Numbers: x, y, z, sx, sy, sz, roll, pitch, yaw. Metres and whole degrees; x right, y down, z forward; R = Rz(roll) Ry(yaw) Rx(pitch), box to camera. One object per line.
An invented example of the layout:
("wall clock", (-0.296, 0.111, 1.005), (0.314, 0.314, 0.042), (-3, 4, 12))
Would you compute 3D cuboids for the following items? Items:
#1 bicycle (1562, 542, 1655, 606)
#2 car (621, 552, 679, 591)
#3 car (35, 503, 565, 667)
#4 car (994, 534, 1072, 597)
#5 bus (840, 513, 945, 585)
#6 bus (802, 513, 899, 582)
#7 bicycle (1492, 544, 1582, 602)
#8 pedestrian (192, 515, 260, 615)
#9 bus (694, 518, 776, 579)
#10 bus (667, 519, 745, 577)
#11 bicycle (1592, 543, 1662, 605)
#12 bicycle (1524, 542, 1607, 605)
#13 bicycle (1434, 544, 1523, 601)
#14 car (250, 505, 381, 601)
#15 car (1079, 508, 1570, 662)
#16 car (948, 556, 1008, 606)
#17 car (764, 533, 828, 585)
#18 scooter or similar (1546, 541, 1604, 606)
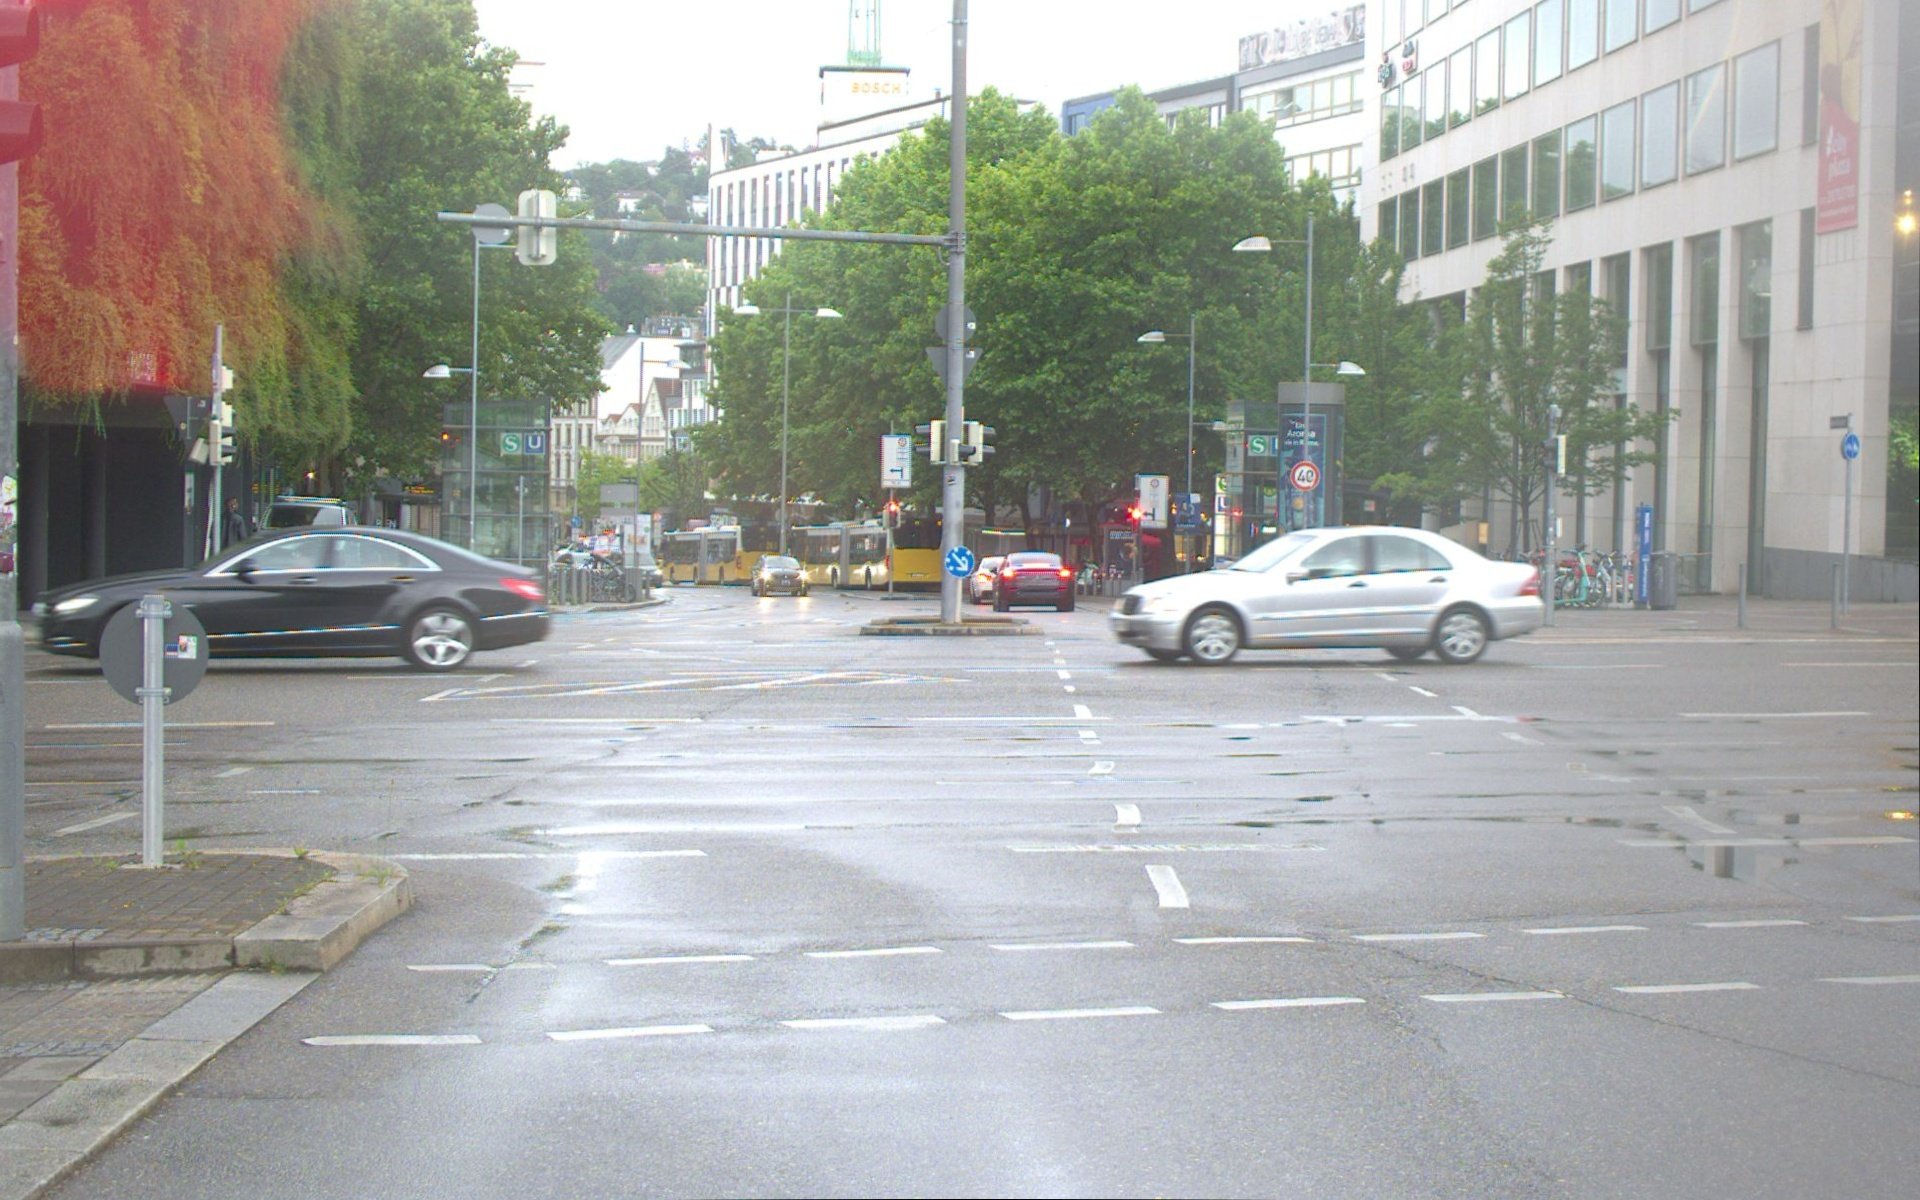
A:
("bicycle", (12.232, -0.490, 64.851), (1.624, 1.190, 0.586), (1, 0, 26))
("car", (-14.256, -1.321, 157.846), (2.163, 1.759, 4.832), (-1, 1, -11))
("car", (-6.437, -0.120, 33.438), (4.845, 1.472, 2.000), (1, -1, -17))
("car", (1.788, -0.855, 85.484), (1.781, 1.503, 4.000), (1, 1, -1))
("bus", (-2.907, -2.200, 145.948), (2.627, 2.985, 7.451), (0, 1, -16))
("bus", (-4.921, -2.361, 153.094), (2.627, 2.985, 7.451), (0, 1, -16))
("bicycle", (12.020, -0.560, 71.613), (1.777, 1.190, 0.586), (1, 0, 2))
("pedestrian", (-12.142, -0.581, 56.896), (0.933, 1.638, 0.774), (1, 0, -1))
("bus", (-11.364, -2.617, 173.240), (2.627, 2.985, 7.330), (0, 1, -16))
("bus", (-13.379, -2.770, 180.336), (2.627, 2.985, 7.451), (0, 1, -16))
("bicycle", (12.993, -0.500, 66.961), (0.586, 1.190, 1.779), (1, 1, 38))
("bicycle", (11.689, -0.513, 66.403), (0.584, 1.190, 1.784), (1, 1, -28))
("bicycle", (10.973, -0.587, 72.782), (1.777, 1.190, 0.586), (1, 0, 2))
("car", (-12.780, -0.922, 68.336), (1.870, 1.833, 4.000), (1, 1, -1))
("car", (3.788, -0.190, 36.061), (4.717, 1.472, 2.001), (-1, 3, -13))
("car", (0.542, -0.607, 106.777), (1.781, 1.503, 4.000), (1, 1, -1))
("car", (-6.071, -1.508, 126.814), (2.164, 1.759, 5.113), (3, 0, -4))
("scooter or similar", (11.478, -0.494, 64.166), (0.963, 1.190, 0.454), (1, 1, 40))
